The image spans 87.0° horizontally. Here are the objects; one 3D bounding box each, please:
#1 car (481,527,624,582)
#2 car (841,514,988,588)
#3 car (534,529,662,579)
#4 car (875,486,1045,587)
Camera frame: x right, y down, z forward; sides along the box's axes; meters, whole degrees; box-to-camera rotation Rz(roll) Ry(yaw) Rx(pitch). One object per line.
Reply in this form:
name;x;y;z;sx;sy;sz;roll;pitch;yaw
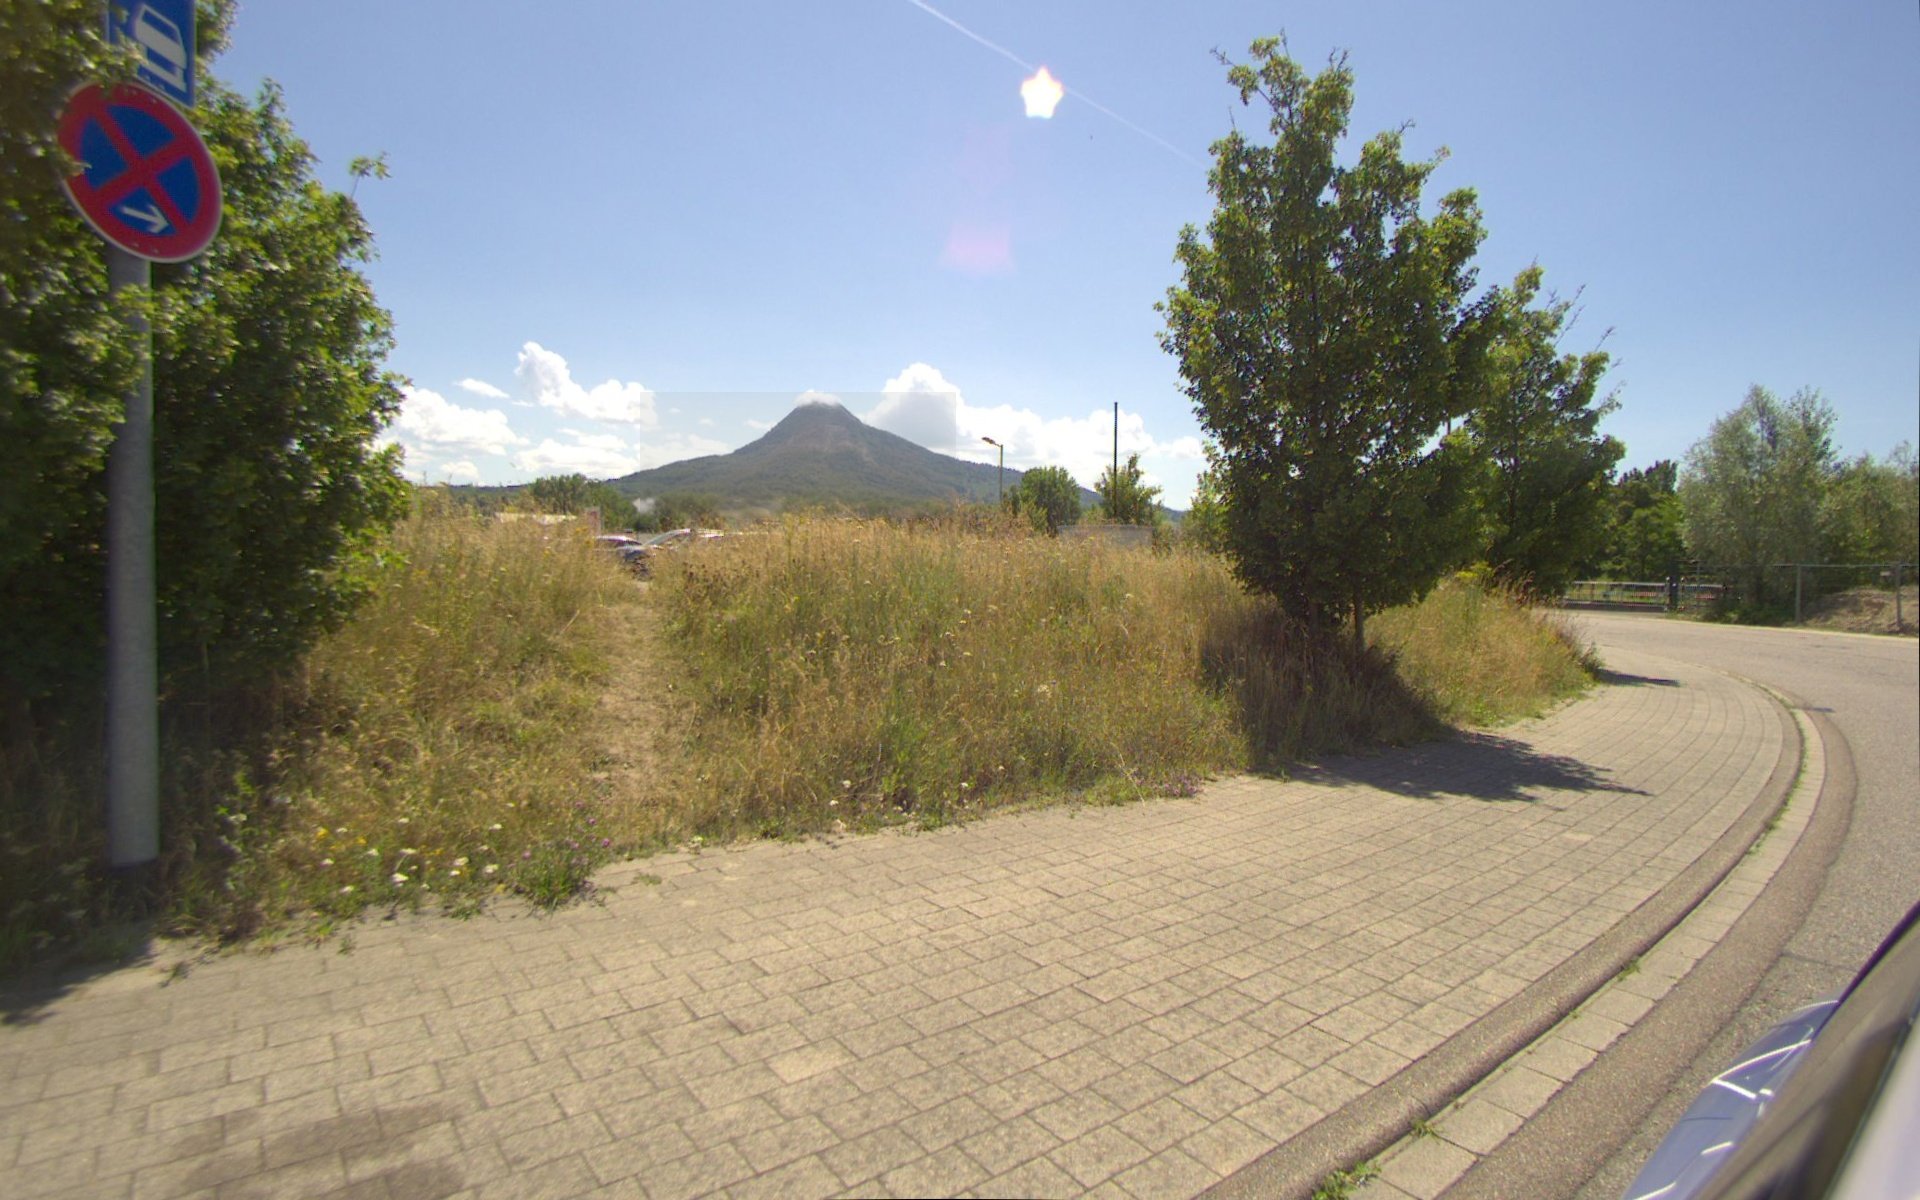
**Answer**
car;-14.281;-1.616;35.550;4.318;1.808;2.001;-2;3;-35
car;-1.404;-1.553;32.041;4.320;2.171;1.953;-2;3;-37
car;-13.965;-1.788;39.133;4.318;1.808;2.001;-2;3;-35
car;0.015;-1.846;29.917;4.658;2.776;2.002;-1;3;-31
